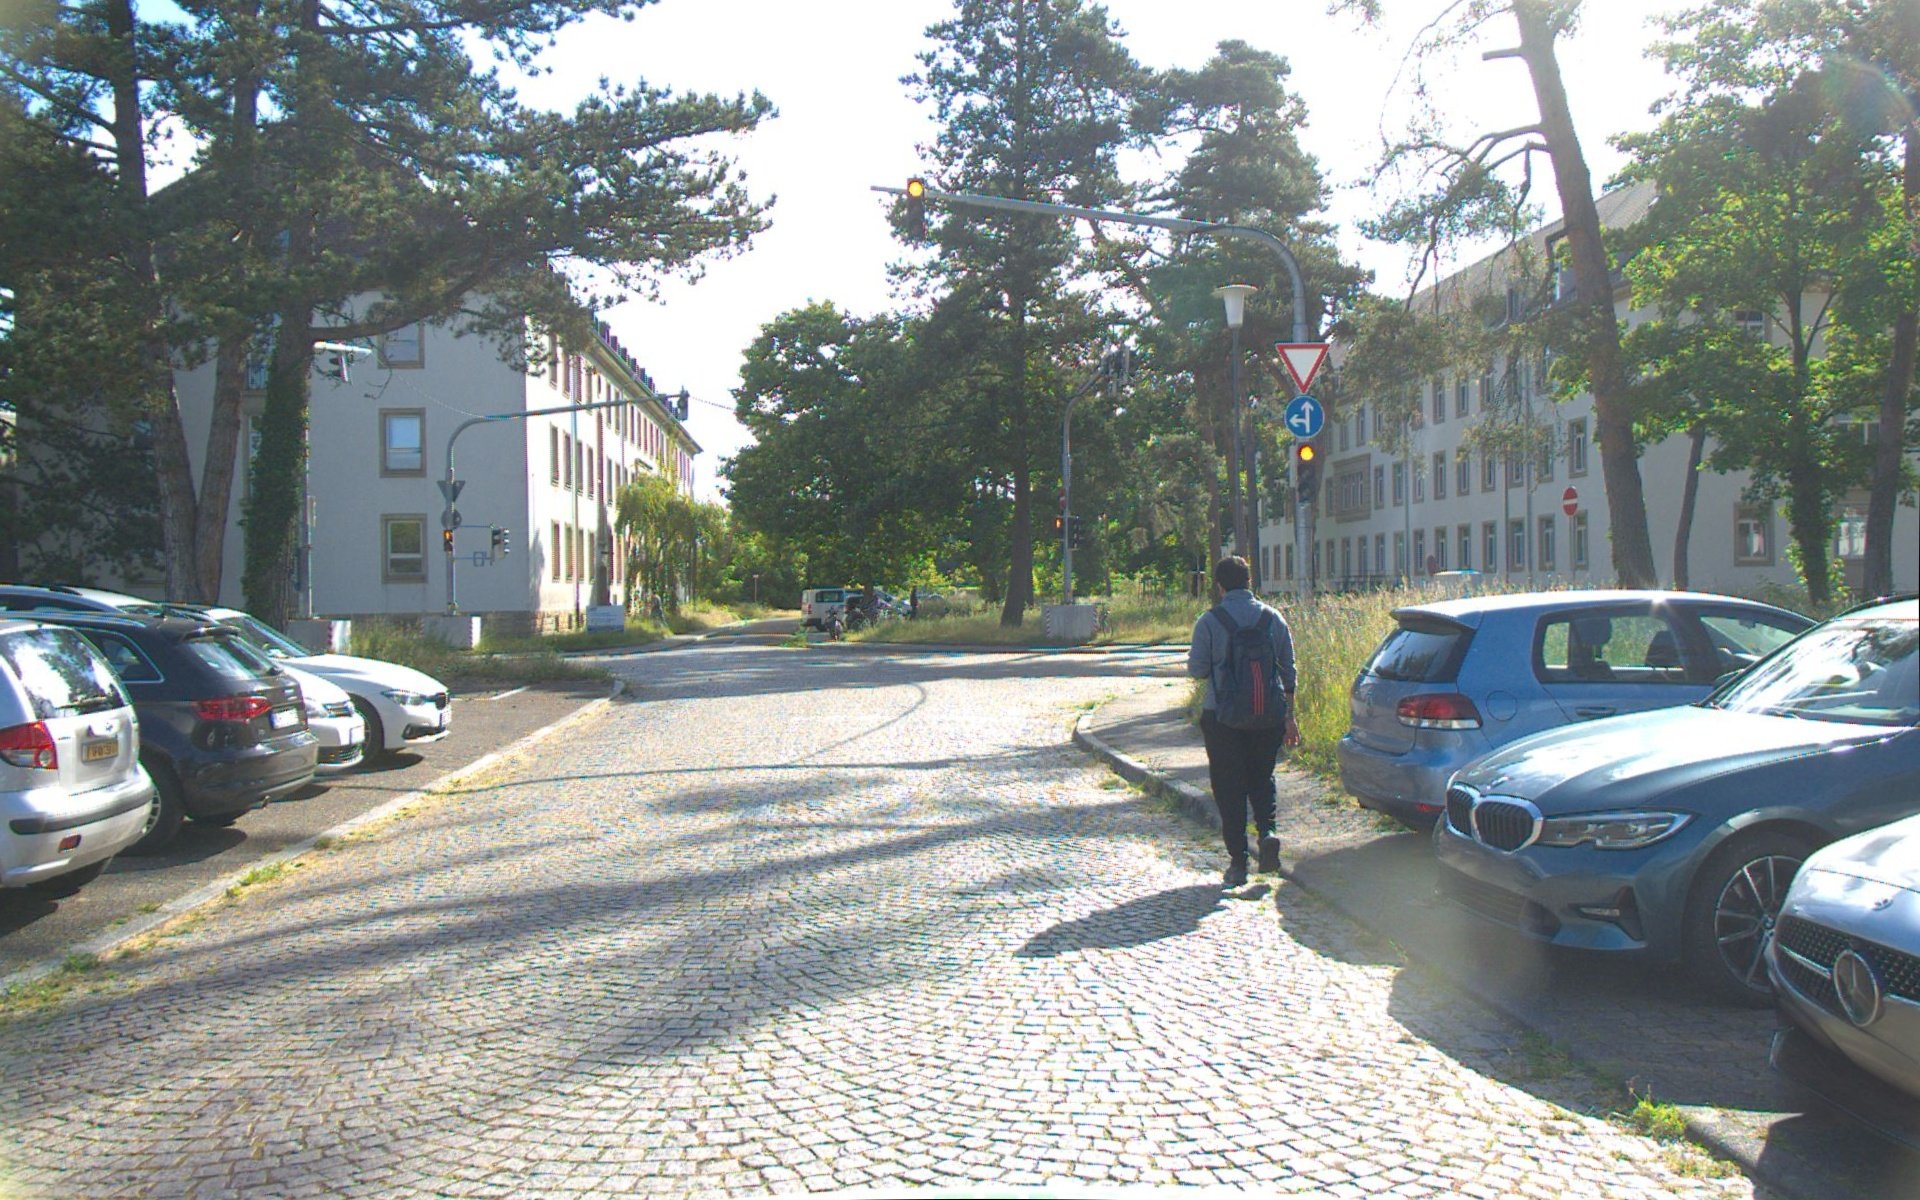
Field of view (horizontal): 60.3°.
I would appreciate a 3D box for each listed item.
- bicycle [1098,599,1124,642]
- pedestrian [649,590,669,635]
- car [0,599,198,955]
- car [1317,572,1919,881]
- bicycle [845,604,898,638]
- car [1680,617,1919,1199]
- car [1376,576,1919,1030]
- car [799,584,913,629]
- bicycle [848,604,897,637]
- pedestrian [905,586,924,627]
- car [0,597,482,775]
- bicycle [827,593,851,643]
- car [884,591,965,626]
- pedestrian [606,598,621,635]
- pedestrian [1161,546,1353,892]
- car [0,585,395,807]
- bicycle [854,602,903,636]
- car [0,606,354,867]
[{"bbox_3d":[4.264,0.564,46.819,0.706,1.134,2.585,-1,0,5],"label":"bicycle"},{"bbox_3d":[-12.193,0.509,66.983,0.600,1.783,0.625,-1,0,-27],"label":"pedestrian"},{"bbox_3d":[-5.886,0.754,7.974,3.615,1.554,1.697,1,0,-7],"label":"car"},{"bbox_3d":[4.119,0.652,9.663,3.602,1.468,1.664,-3,0,-5],"label":"car"},{"bbox_3d":[-3.125,0.732,58.125,1.800,1.132,0.494,-1,0,-8],"label":"bicycle"},{"bbox_3d":[4.455,0.703,4.398,4.314,1.413,1.787,-2,0,-6],"label":"car"},{"bbox_3d":[4.335,0.657,7.105,4.532,1.481,1.867,-3,1,-7],"label":"car"},{"bbox_3d":[-4.788,0.293,75.932,4.981,1.951,1.993,-1,0,-14],"label":"car"},{"bbox_3d":[-3.101,0.730,58.673,1.695,1.132,0.483,-1,0,-8],"label":"bicycle"},{"bbox_3d":[-2.057,0.305,74.595,0.746,1.815,0.682,-1,0,-12],"label":"pedestrian"},{"bbox_3d":[-6.838,0.782,15.950,3.905,1.522,1.772,1,0,0],"label":"car"},{"bbox_3d":[-4.027,0.573,55.017,0.738,1.608,2.534,-1,0,-5],"label":"bicycle"},{"bbox_3d":[-1.715,0.398,80.051,3.678,1.607,1.736,-1,0,-12],"label":"car"},{"bbox_3d":[-14.910,0.693,71.148,0.596,1.587,0.543,-1,0,-11],"label":"pedestrian"},{"bbox_3d":[1.597,0.620,9.020,0.738,1.755,0.828,4,0,-5],"label":"pedestrian"},{"bbox_3d":[-6.745,0.726,13.348,3.805,1.643,1.658,1,0,-6],"label":"car"},{"bbox_3d":[-2.924,0.687,59.371,1.695,1.185,0.560,-1,0,-8],"label":"bicycle"},{"bbox_3d":[-6.146,0.795,10.621,3.861,1.470,1.689,2,0,-6],"label":"car"}]
